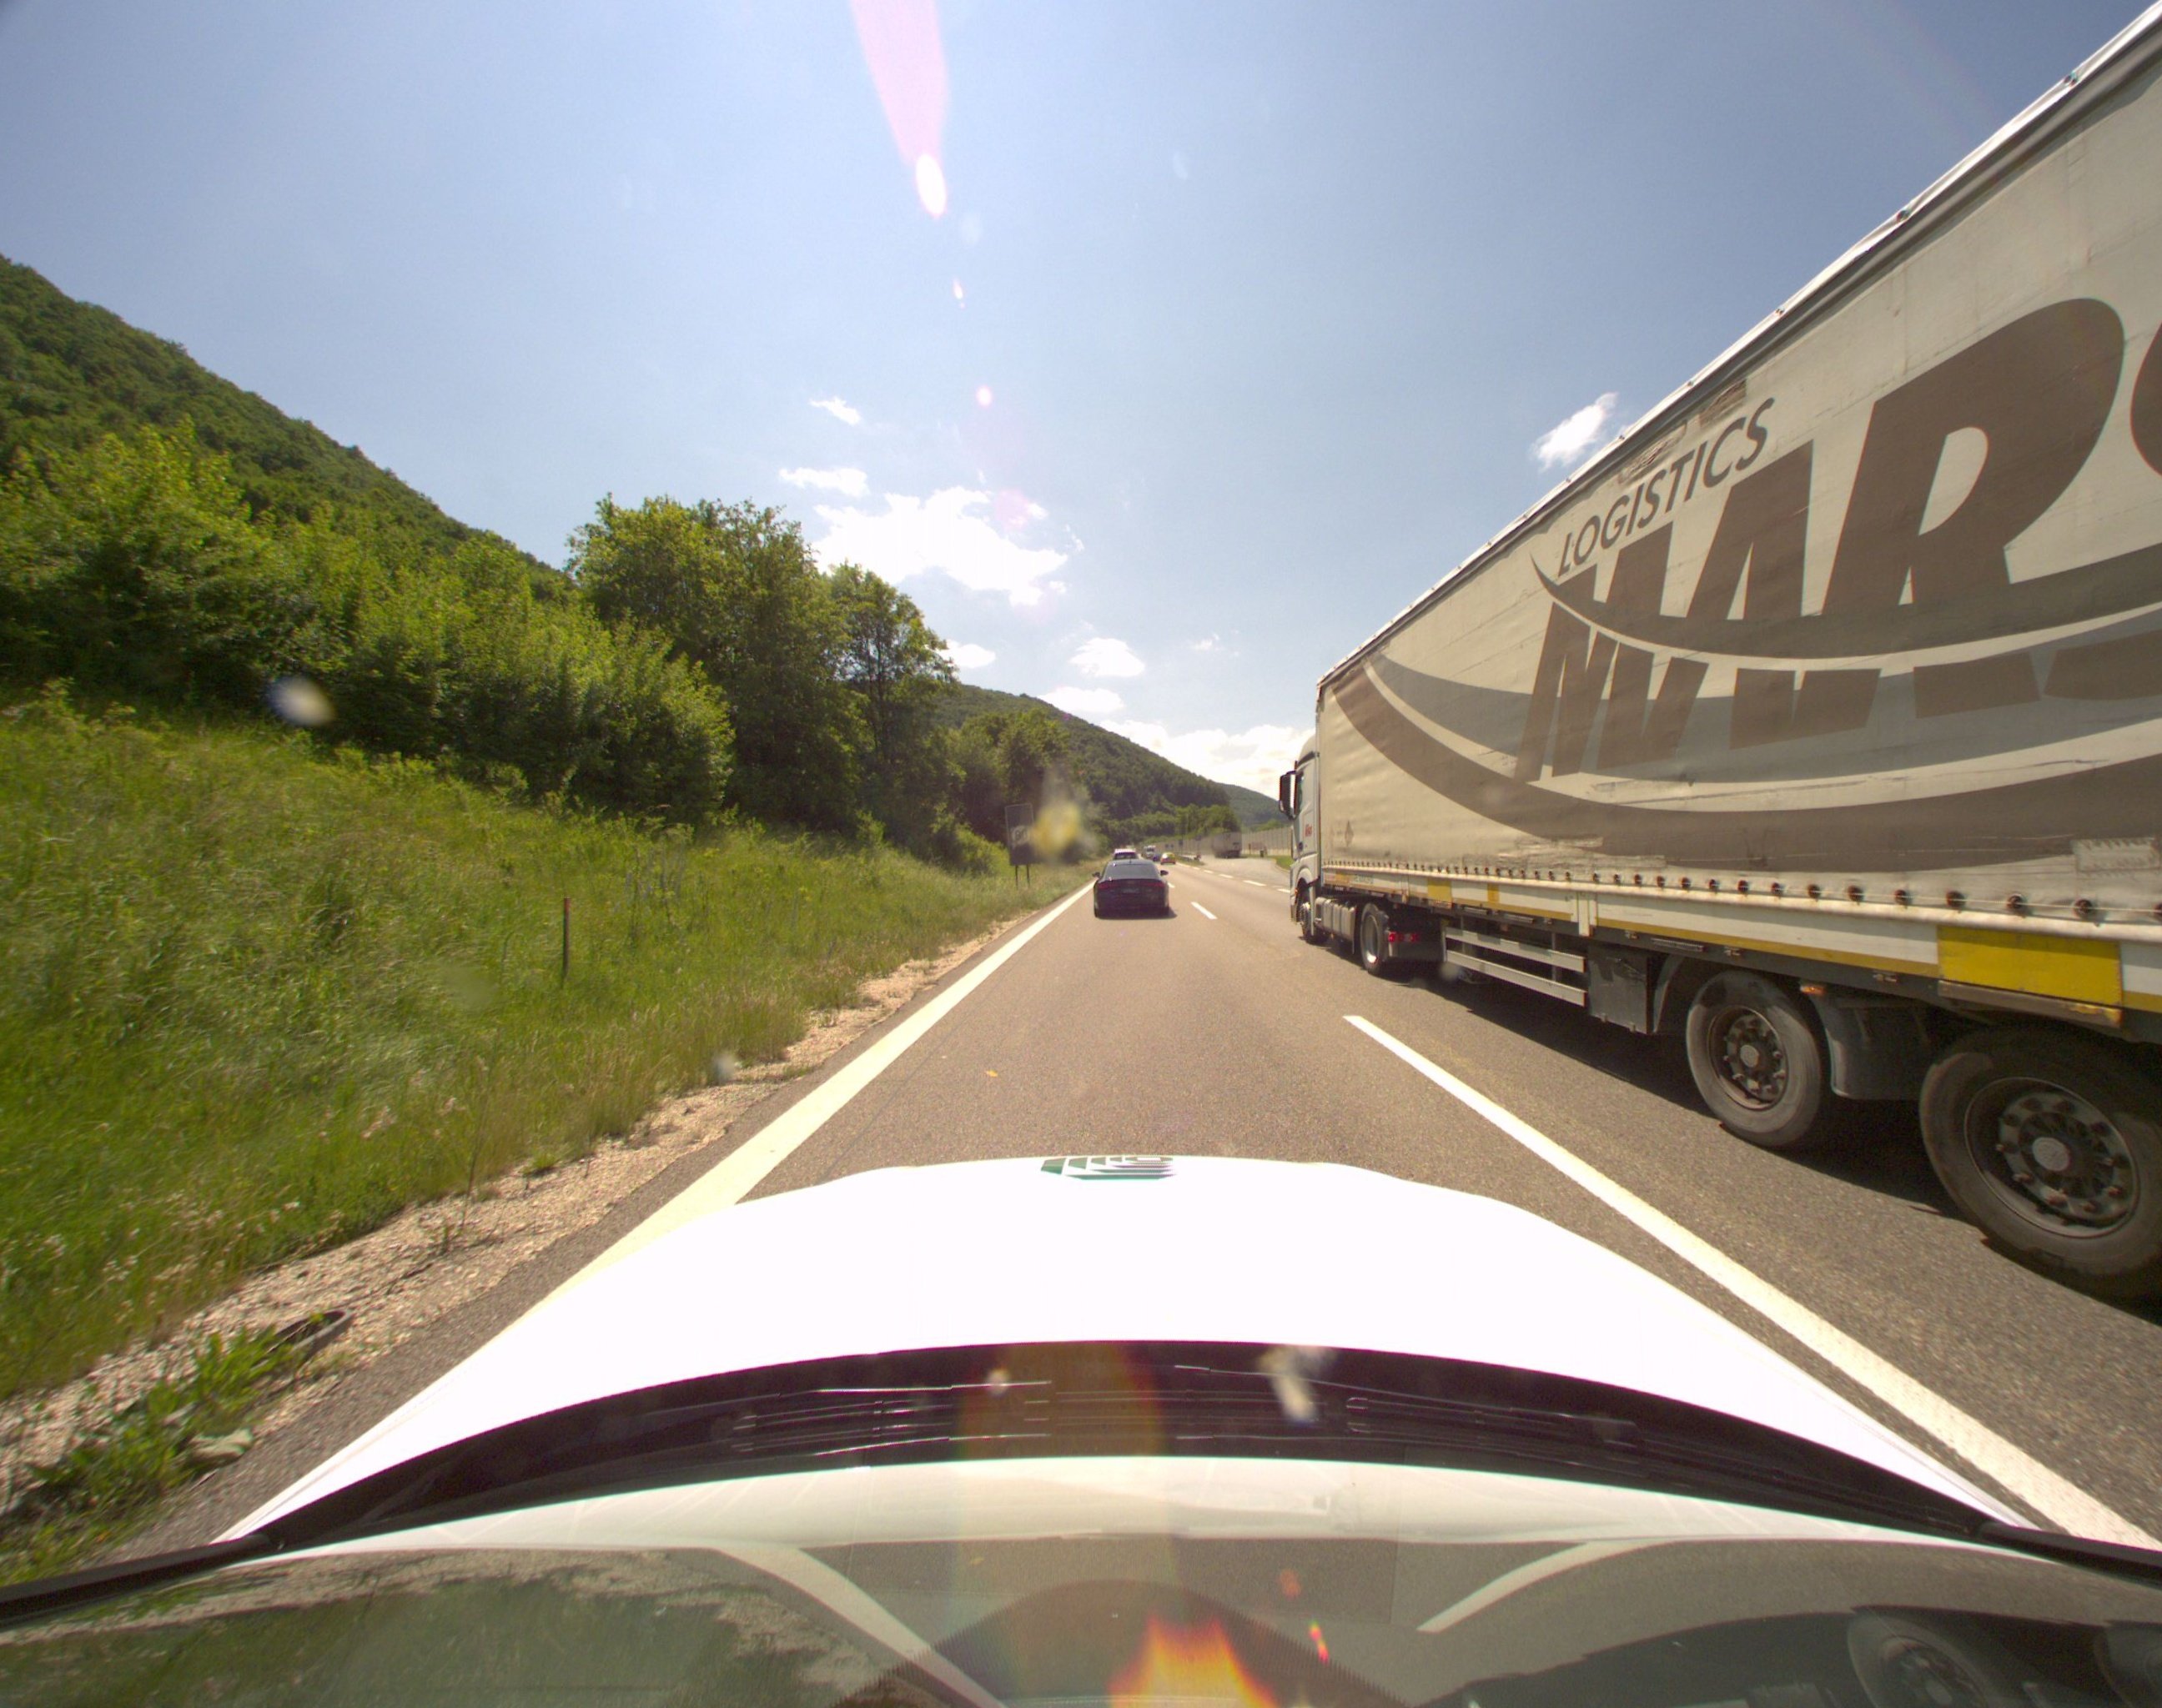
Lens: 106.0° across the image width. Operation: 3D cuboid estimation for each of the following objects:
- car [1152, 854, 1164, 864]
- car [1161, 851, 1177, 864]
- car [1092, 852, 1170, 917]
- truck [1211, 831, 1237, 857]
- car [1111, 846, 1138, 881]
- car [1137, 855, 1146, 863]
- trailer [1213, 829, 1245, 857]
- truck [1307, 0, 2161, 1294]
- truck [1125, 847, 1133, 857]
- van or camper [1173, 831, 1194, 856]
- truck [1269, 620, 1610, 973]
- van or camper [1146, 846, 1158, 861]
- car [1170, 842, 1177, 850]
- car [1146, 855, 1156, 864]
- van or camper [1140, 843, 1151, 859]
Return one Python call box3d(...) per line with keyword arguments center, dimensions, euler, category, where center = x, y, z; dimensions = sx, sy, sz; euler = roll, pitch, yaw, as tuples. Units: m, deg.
box3d(center=(11.151, 0.735, 118.021), dimensions=(1.523, 1.525, 3.600), euler=(0, -1, 4), category="car")
box3d(center=(11.081, 0.443, 102.946), dimensions=(1.870, 1.499, 4.004), euler=(-2, 0, 4), category="car")
box3d(center=(1.320, 0.740, 21.186), dimensions=(1.804, 1.514, 3.518), euler=(-2, 0, 4), category="car")
box3d(center=(22.346, -1.526, 127.646), dimensions=(3.397, 3.900, 5.392), euler=(-2, 0, 3), category="truck")
box3d(center=(2.524, 0.564, 47.568), dimensions=(1.515, 1.968, 3.516), euler=(1, -1, 3), category="car")
box3d(center=(14.450, 1.211, 195.176), dimensions=(1.986, 2.014, 4.001), euler=(0, -1, 2), category="car")
box3d(center=(21.974, -1.505, 121.480), dimensions=(3.397, 3.900, 11.161), euler=(-2, 0, 3), category="trailer")
box3d(center=(4.594, -0.727, 5.446), dimensions=(2.715, 4.068, 13.746), euler=(-1, -1, 2), category="truck")
box3d(center=(13.930, -0.583, 237.250), dimensions=(2.054, 2.605, 5.622), euler=(1, -1, 5), category="truck")
box3d(center=(16.518, -1.586, 131.052), dimensions=(2.784, 3.841, 6.169), euler=(0, -1, 2), category="van or camper")
box3d(center=(4.832, -0.634, 12.360), dimensions=(2.709, 4.068, 5.756), euler=(-1, -1, 2), category="truck")
box3d(center=(14.621, -0.049, 168.080), dimensions=(2.419, 3.155, 5.208), euler=(0, -1, 4), category="van or camper")
box3d(center=(23.828, -2.062, 210.461), dimensions=(1.569, 2.013, 3.431), euler=(-2, 0, 4), category="car")
box3d(center=(11.759, 0.933, 137.371), dimensions=(1.523, 1.525, 3.600), euler=(0, -1, 4), category="car")
box3d(center=(17.156, -0.787, 216.966), dimensions=(2.784, 3.907, 6.169), euler=(0, -1, 2), category="van or camper")
